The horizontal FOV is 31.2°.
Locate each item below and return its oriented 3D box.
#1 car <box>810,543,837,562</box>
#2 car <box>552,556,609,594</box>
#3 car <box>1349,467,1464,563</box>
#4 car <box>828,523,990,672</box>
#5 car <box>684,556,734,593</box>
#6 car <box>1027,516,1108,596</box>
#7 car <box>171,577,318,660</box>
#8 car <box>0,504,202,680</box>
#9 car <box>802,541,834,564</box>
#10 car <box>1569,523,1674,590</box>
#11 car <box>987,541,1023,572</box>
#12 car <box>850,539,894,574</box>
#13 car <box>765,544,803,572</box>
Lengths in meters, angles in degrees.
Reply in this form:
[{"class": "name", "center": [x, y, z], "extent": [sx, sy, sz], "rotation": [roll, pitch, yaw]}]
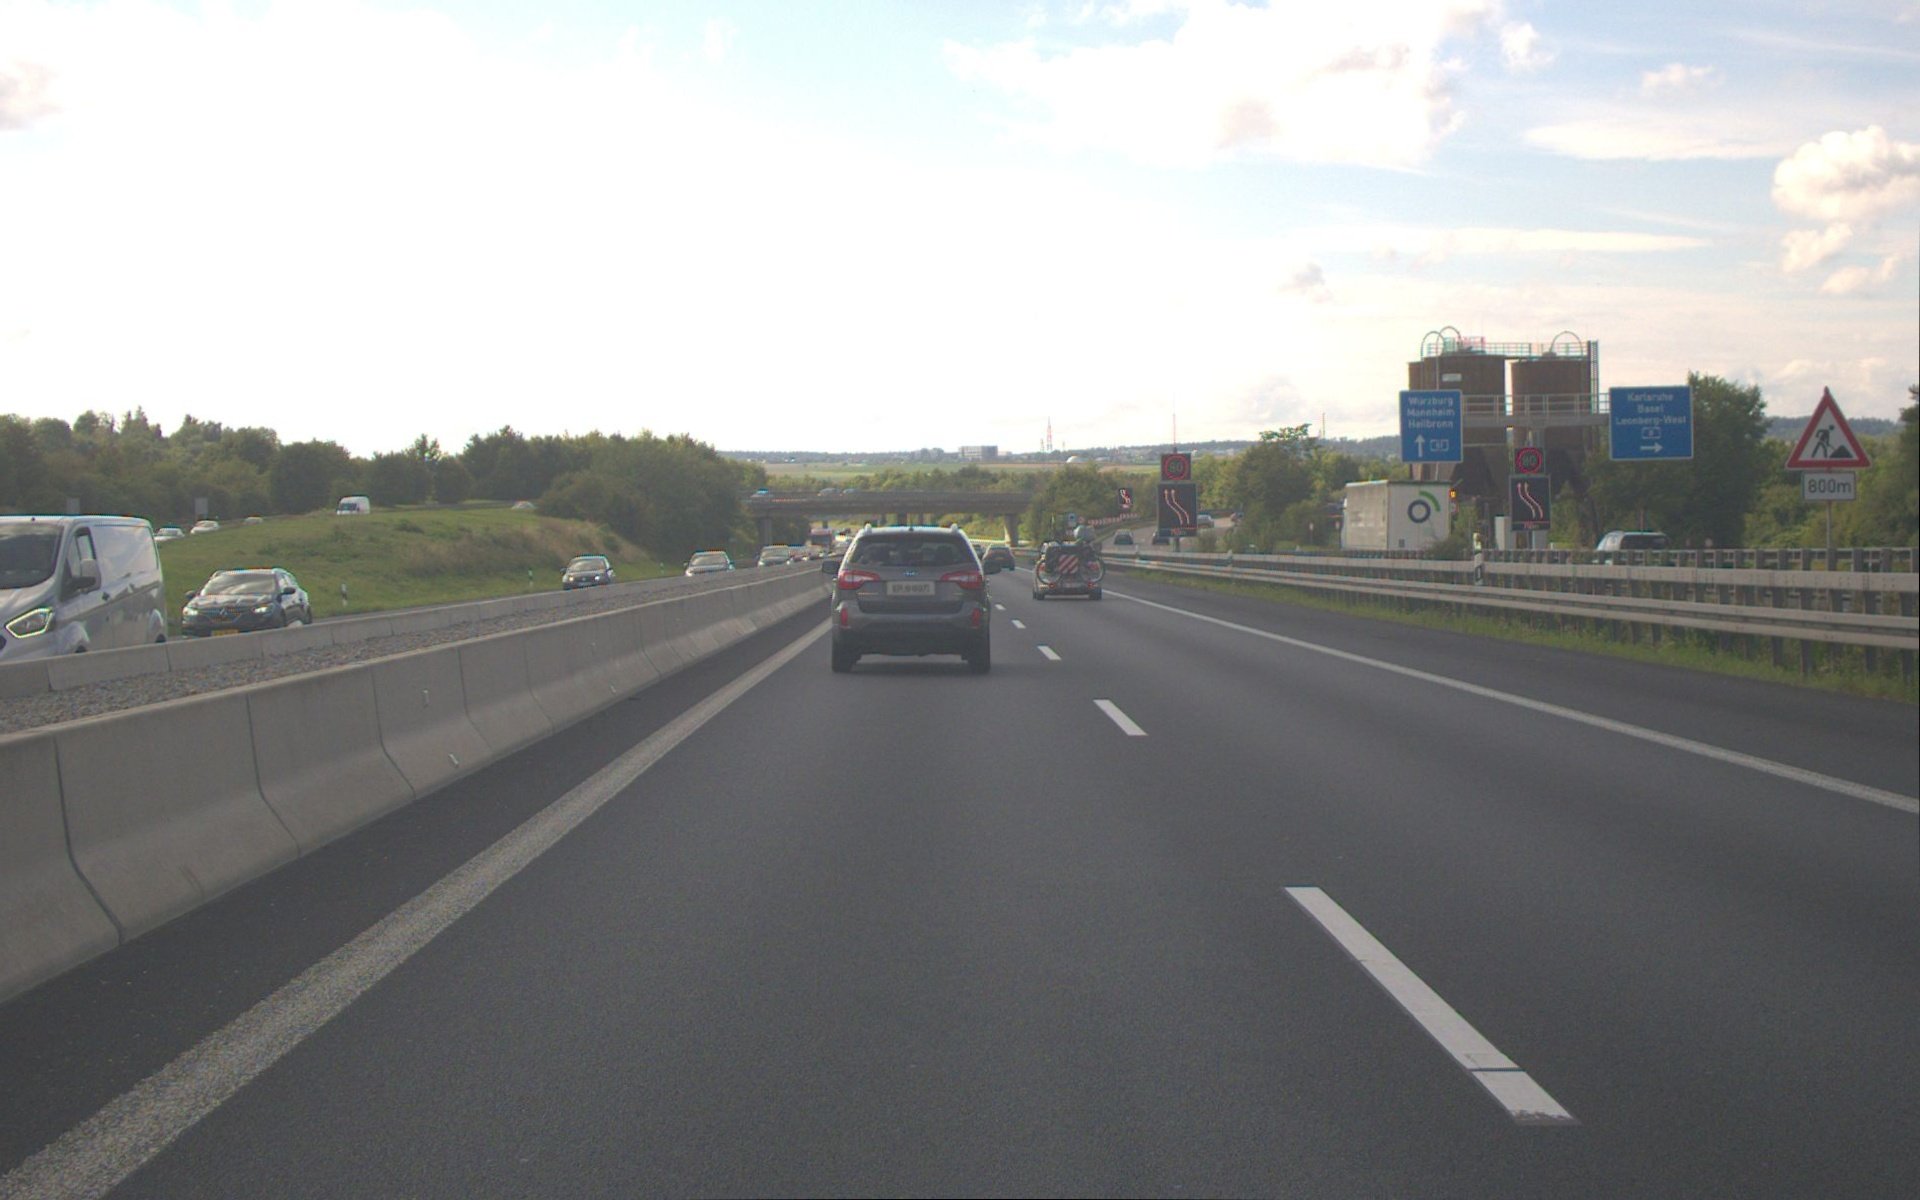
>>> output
[{"class": "car", "center": [-10.259, -3.591, 258.663], "extent": [1.787, 1.393, 4.623], "rotation": [-2, 1, 0]}, {"class": "car", "center": [-14.567, -0.975, 132.134], "extent": [1.727, 1.393, 4.158], "rotation": [-2, 1, 0]}, {"class": "car", "center": [18.255, -3.446, 140.974], "extent": [3.576, 3.664, 7.549], "rotation": [-2, 1, 0]}, {"class": "car", "center": [-0.564, -0.057, 40.836], "extent": [1.750, 1.624, 3.609], "rotation": [-2, 1, 1]}, {"class": "car", "center": [-9.829, -1.010, 134.837], "extent": [1.641, 1.393, 3.742], "rotation": [-2, 1, 0]}, {"class": "car", "center": [2.916, -1.202, 93.706], "extent": [1.993, 2.073, 4.000], "rotation": [-2, 1, 0]}, {"class": "car", "center": [-13.356, 0.319, 64.425], "extent": [1.754, 1.397, 4.691], "rotation": [-2, 1, 0]}, {"class": "car", "center": [-8.908, -0.084, 33.020], "extent": [1.993, 1.527, 5.748], "rotation": [-2, 1, -1]}, {"class": "car", "center": [-9.037, -3.017, 219.103], "extent": [1.787, 1.393, 4.800], "rotation": [-2, 1, 0]}, {"class": "car", "center": [17.847, -1.173, 92.885], "extent": [1.993, 1.711, 4.000], "rotation": [-2, 1, 0]}, {"class": "car", "center": [2.642, -2.557, 202.477], "extent": [1.975, 1.773, 4.120], "rotation": [-2, 1, 0]}, {"class": "car", "center": [-4.877, -2.445, 190.862], "extent": [2.169, 1.837, 4.000], "rotation": [-2, 1, 1]}, {"class": "car", "center": [-9.402, -2.244, 183.899], "extent": [1.787, 1.393, 4.725], "rotation": [-2, 1, 0]}]
